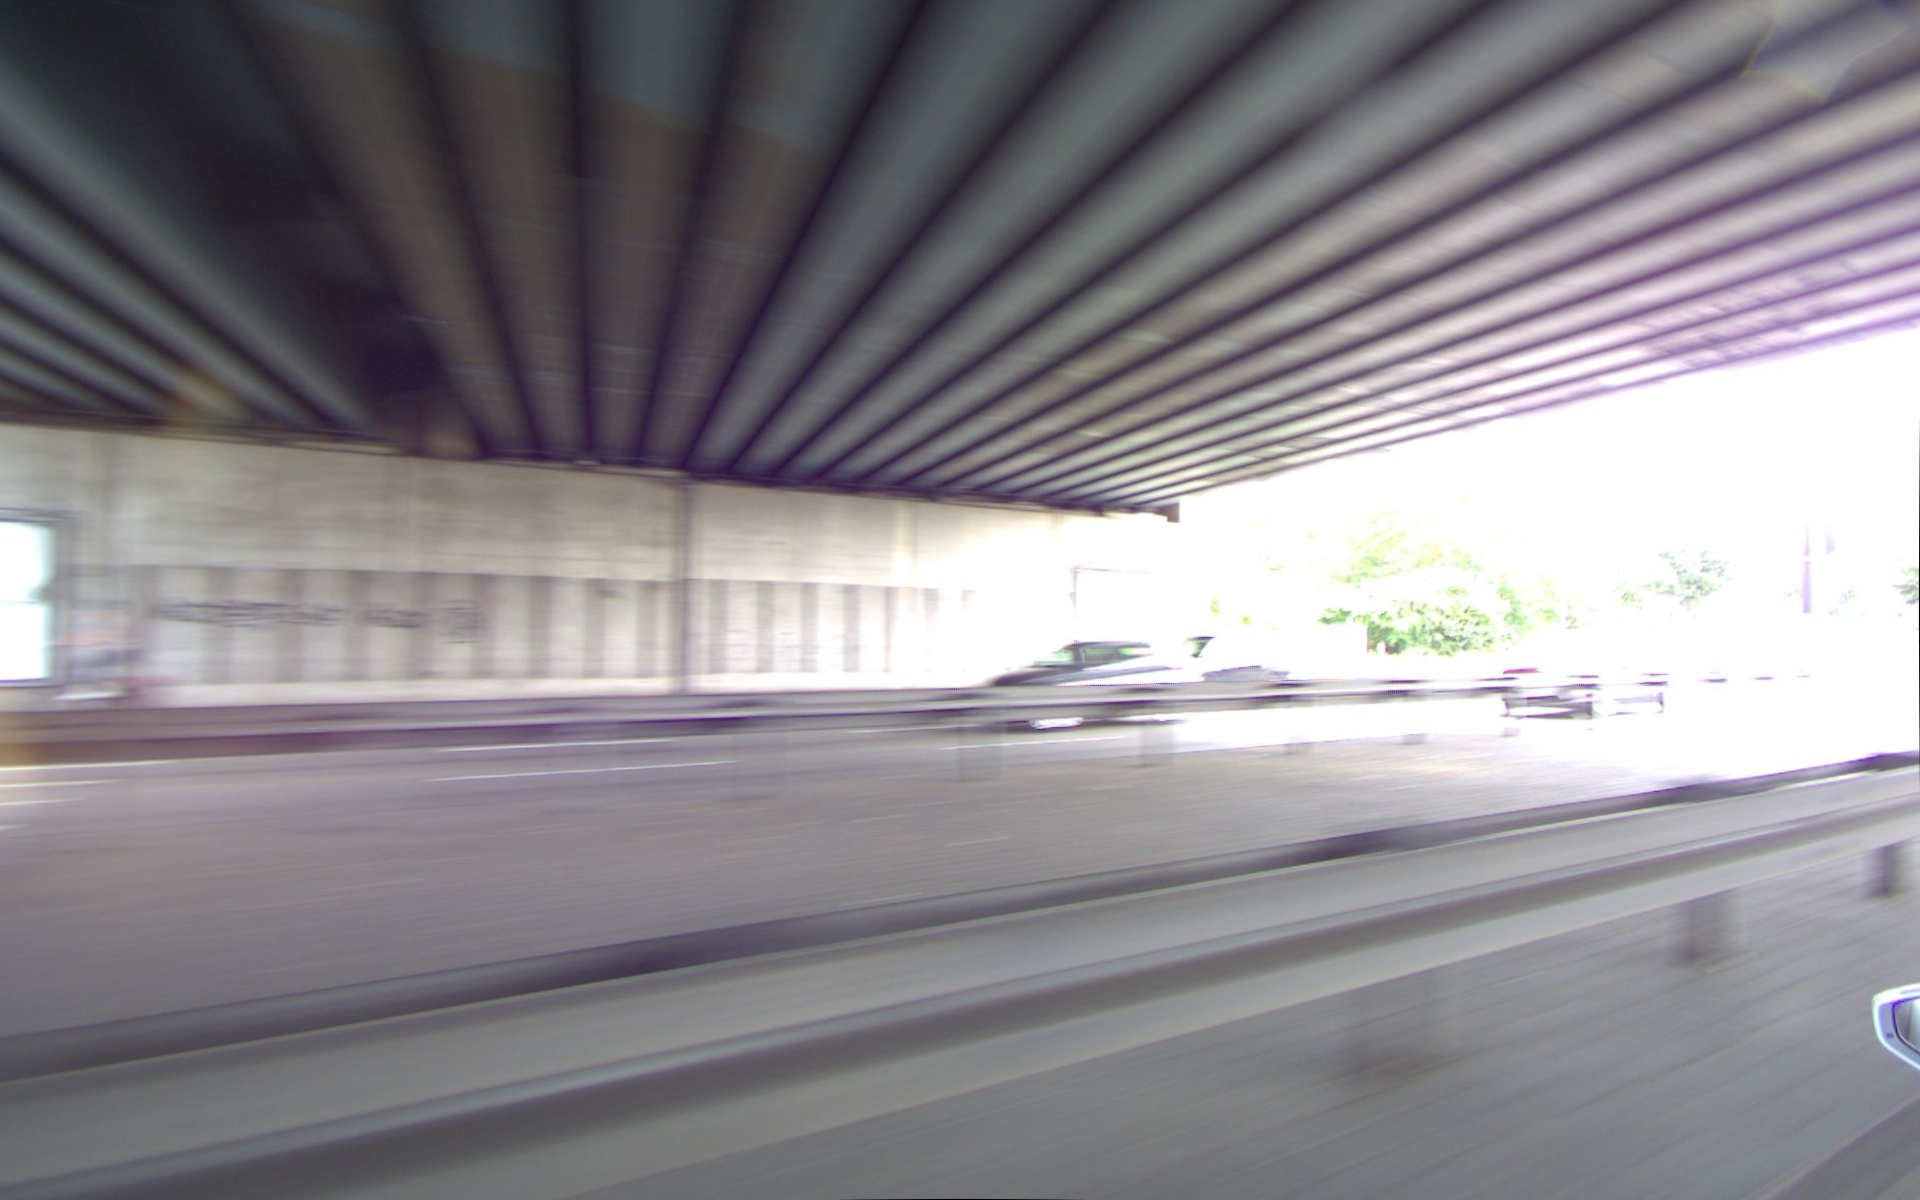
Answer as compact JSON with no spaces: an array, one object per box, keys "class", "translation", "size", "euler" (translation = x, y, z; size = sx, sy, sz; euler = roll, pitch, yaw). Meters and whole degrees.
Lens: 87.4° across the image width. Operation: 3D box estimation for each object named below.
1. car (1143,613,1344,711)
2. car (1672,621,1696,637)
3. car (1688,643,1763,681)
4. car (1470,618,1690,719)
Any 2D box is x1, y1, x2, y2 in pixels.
[{"class":"car","translation":[6.478,1.388,22.927],"size":[4.284,2.040,1.985],"euler":[2,-2,-29]},{"class":"car","translation":[77.981,3.172,108.249],"size":[1.968,1.552,4.317],"euler":[-4,-4,35]},{"class":"car","translation":[33.757,2.698,44.288],"size":[3.966,1.530,1.738],"euler":[2,-3,-39]},{"class":"car","translation":[11.741,1.248,18.954],"size":[4.279,1.697,1.981],"euler":[2,-3,-35]}]
